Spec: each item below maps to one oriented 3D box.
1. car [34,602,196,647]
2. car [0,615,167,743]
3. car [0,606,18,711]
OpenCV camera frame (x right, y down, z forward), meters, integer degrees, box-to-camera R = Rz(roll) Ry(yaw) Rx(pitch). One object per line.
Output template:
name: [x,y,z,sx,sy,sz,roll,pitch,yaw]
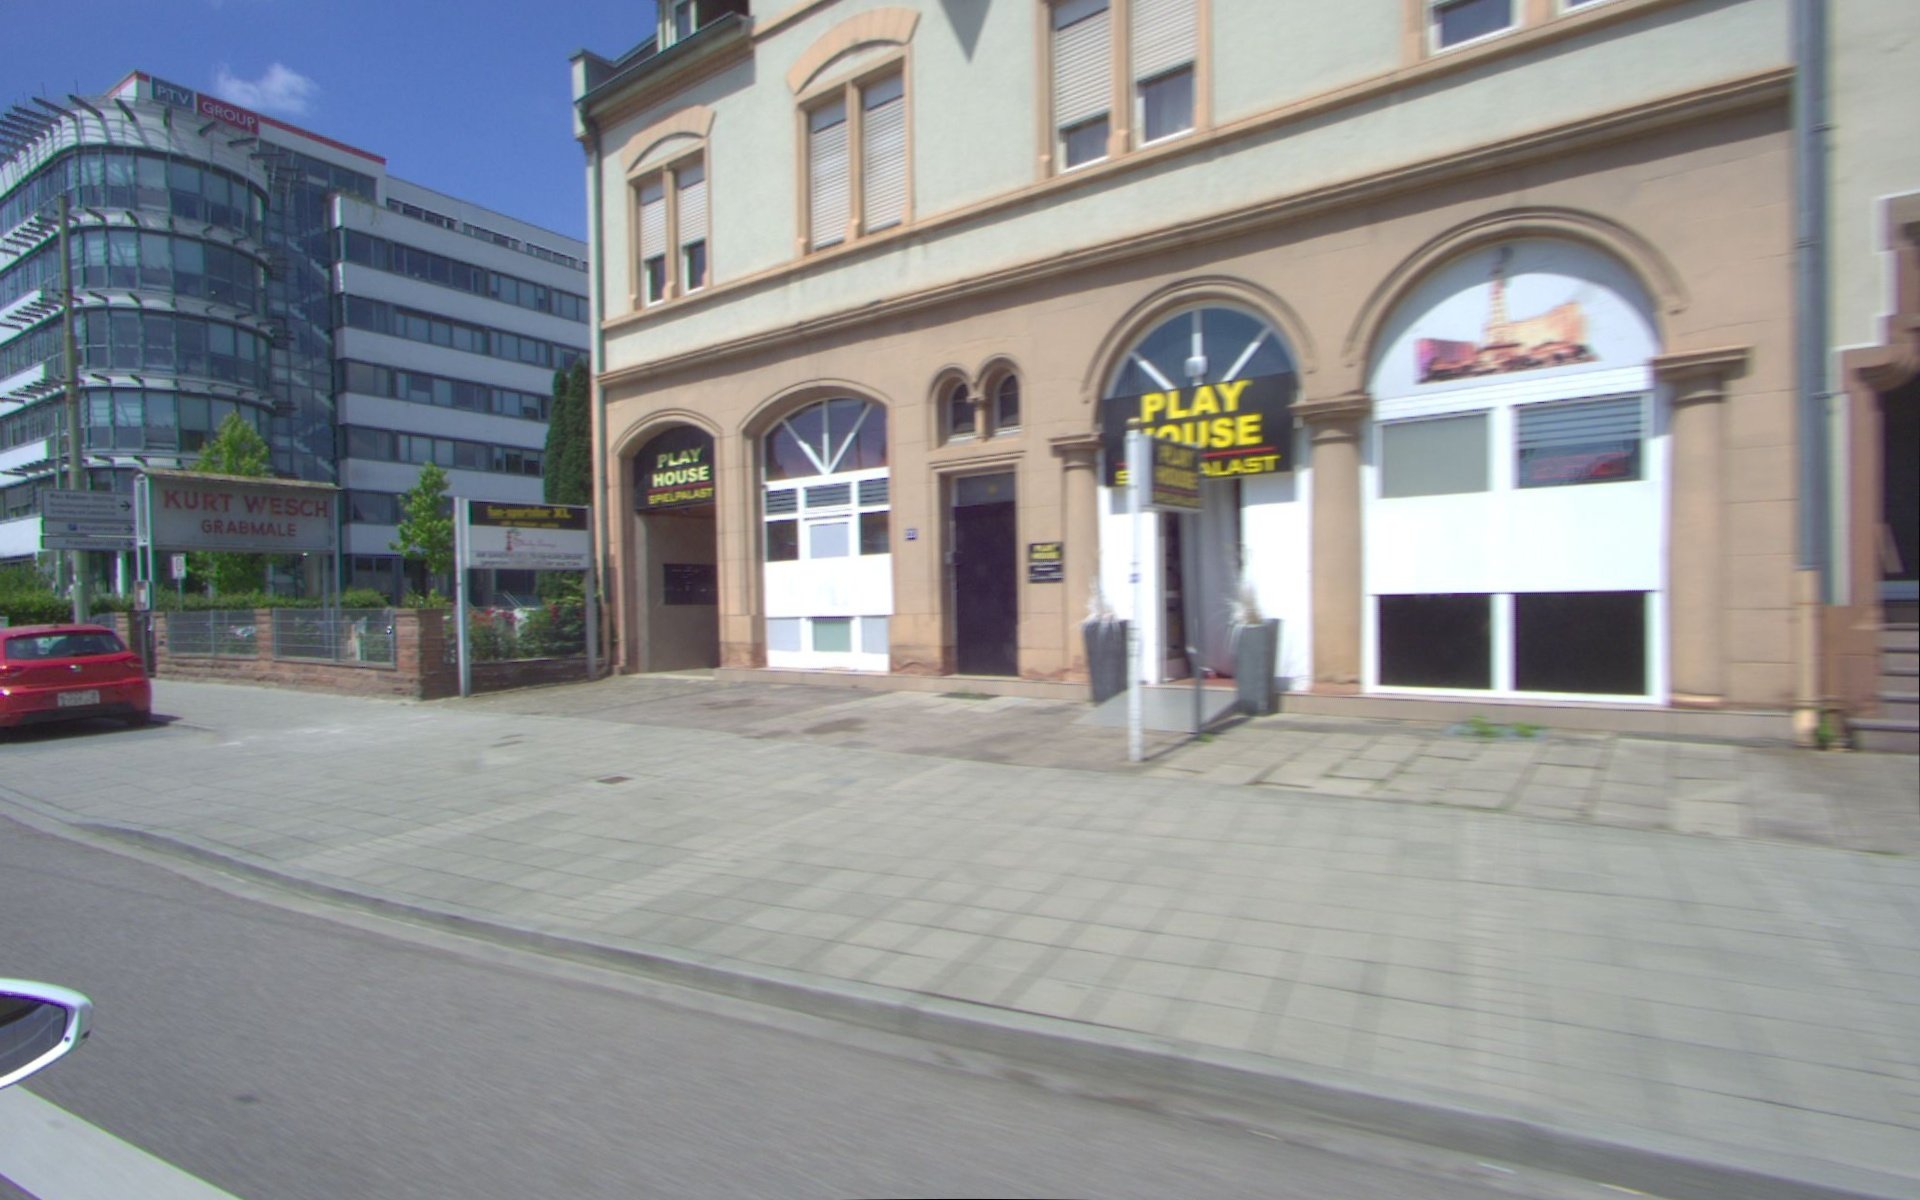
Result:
car: [-27.729,0.765,32.959,1.534,1.292,3.787,0,2,34]
car: [-12.960,0.994,14.031,4.016,1.472,1.707,-1,2,34]
car: [-18.116,0.994,17.261,4.935,1.710,1.856,0,1,37]
